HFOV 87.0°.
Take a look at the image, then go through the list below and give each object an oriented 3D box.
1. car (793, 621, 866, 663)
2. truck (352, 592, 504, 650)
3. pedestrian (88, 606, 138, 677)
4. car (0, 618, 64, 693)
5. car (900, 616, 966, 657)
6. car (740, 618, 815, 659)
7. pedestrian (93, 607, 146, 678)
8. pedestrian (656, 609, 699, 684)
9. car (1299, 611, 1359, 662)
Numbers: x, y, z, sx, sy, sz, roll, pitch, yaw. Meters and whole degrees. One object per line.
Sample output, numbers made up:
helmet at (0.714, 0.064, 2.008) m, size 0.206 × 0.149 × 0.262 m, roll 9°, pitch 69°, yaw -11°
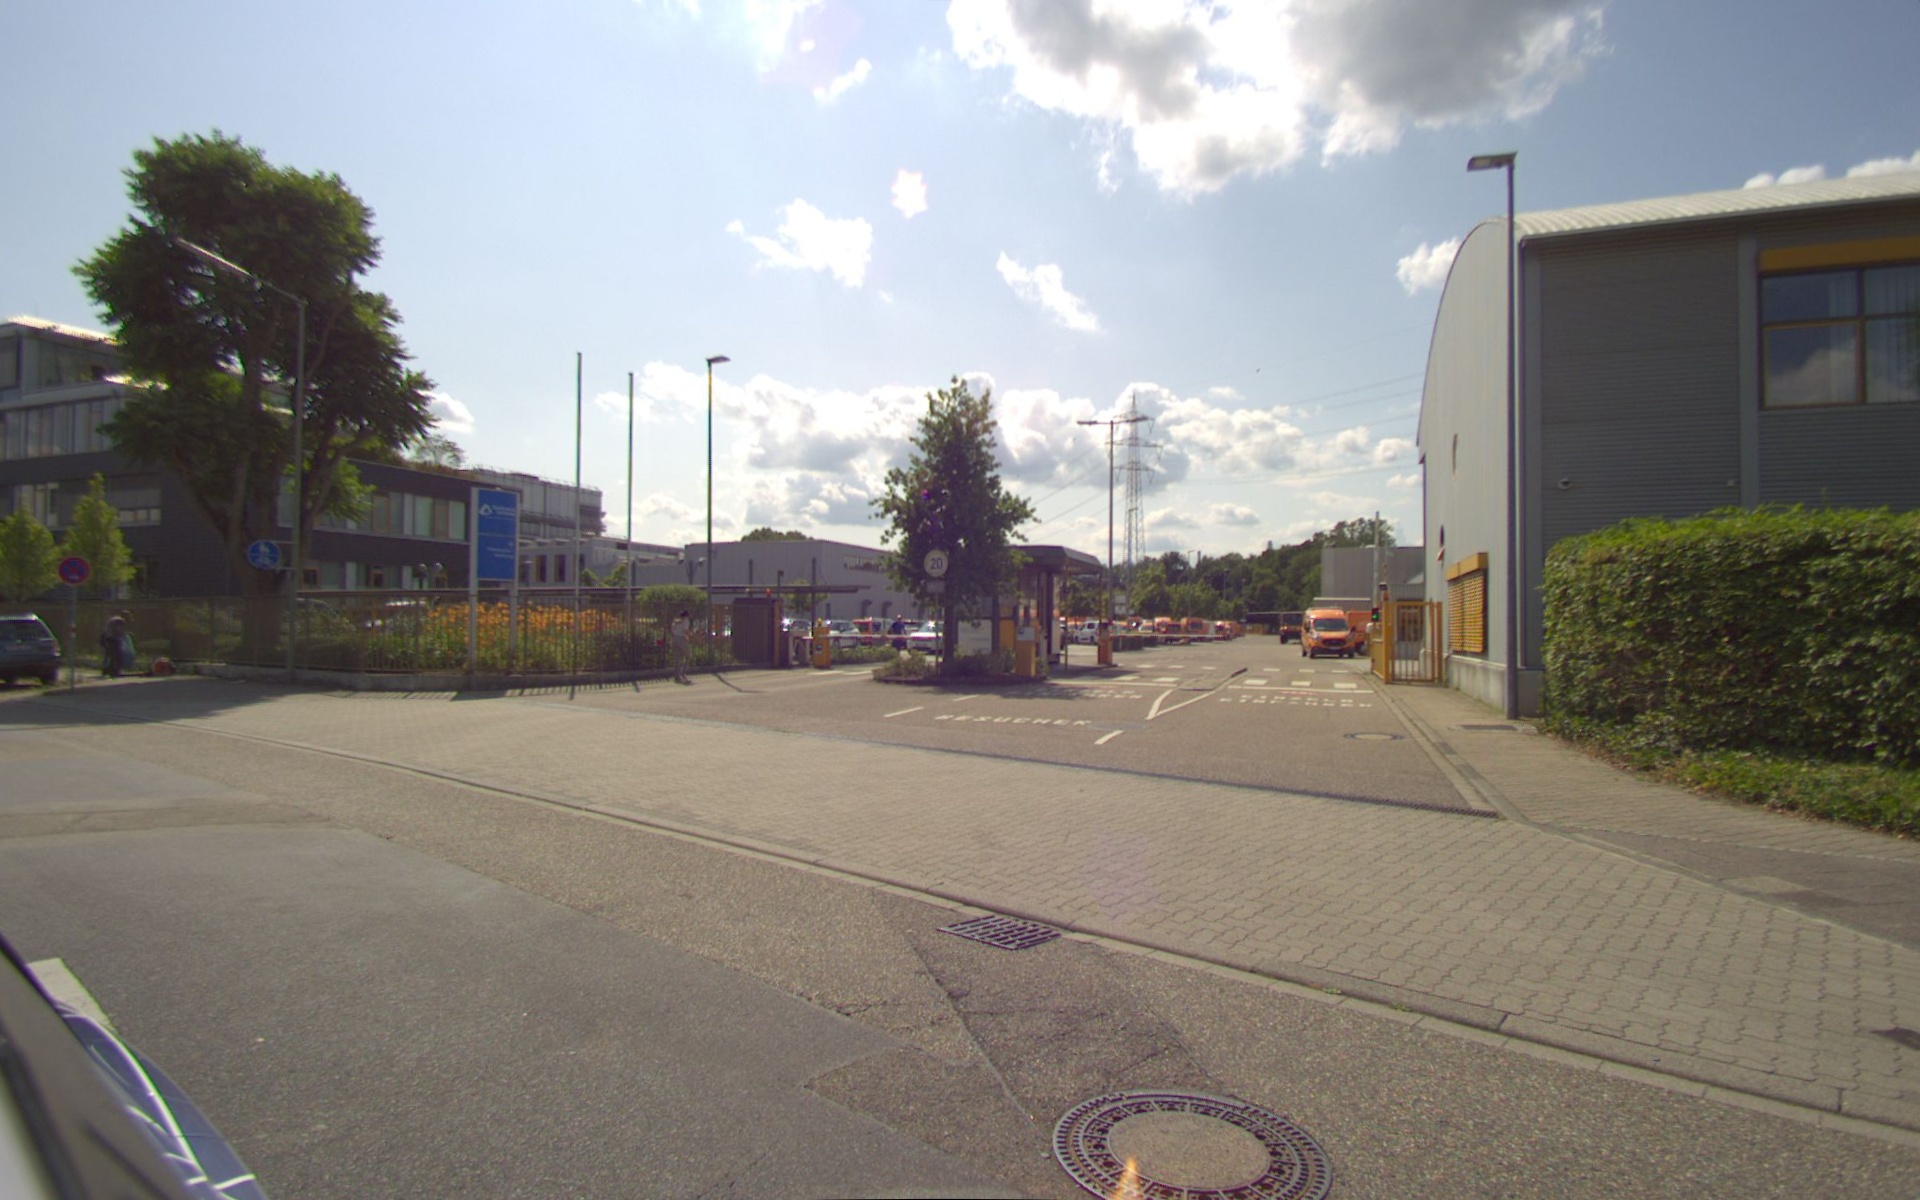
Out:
car at (-5.966, 1.903, 46.878) m, size 1.746 × 1.739 × 4.047 m, roll -1°, pitch 0°, yaw 19°
truck at (-26.222, 1.072, 50.288) m, size 2.387 × 2.678 × 6.888 m, roll -1°, pitch -2°, yaw 20°
pedestrian at (-21.634, 1.048, 25.849) m, size 0.844 × 1.774 × 0.820 m, roll -1°, pitch 0°, yaw 38°
car at (-23.259, 1.279, 23.993) m, size 4.674 × 1.663 × 1.785 m, roll -1°, pitch -1°, yaw 32°
car at (-1.164, 1.618, 46.124) m, size 1.734 × 1.701 × 3.975 m, roll -1°, pitch 0°, yaw 19°
car at (-8.505, 1.773, 47.510) m, size 1.746 × 1.739 × 4.047 m, roll -1°, pitch 0°, yaw 19°
pedestrian at (-20.816, 1.036, 25.066) m, size 0.830 × 1.704 × 0.834 m, roll -1°, pitch 0°, yaw 38°
pedestrian at (-6.646, 1.085, 23.844) m, size 0.729 × 1.704 × 0.545 m, roll 2°, pitch 0°, yaw 23°
car at (17.496, 1.671, 48.157) m, size 2.021 × 2.261 × 4.612 m, roll -1°, pitch 0°, yaw 12°
